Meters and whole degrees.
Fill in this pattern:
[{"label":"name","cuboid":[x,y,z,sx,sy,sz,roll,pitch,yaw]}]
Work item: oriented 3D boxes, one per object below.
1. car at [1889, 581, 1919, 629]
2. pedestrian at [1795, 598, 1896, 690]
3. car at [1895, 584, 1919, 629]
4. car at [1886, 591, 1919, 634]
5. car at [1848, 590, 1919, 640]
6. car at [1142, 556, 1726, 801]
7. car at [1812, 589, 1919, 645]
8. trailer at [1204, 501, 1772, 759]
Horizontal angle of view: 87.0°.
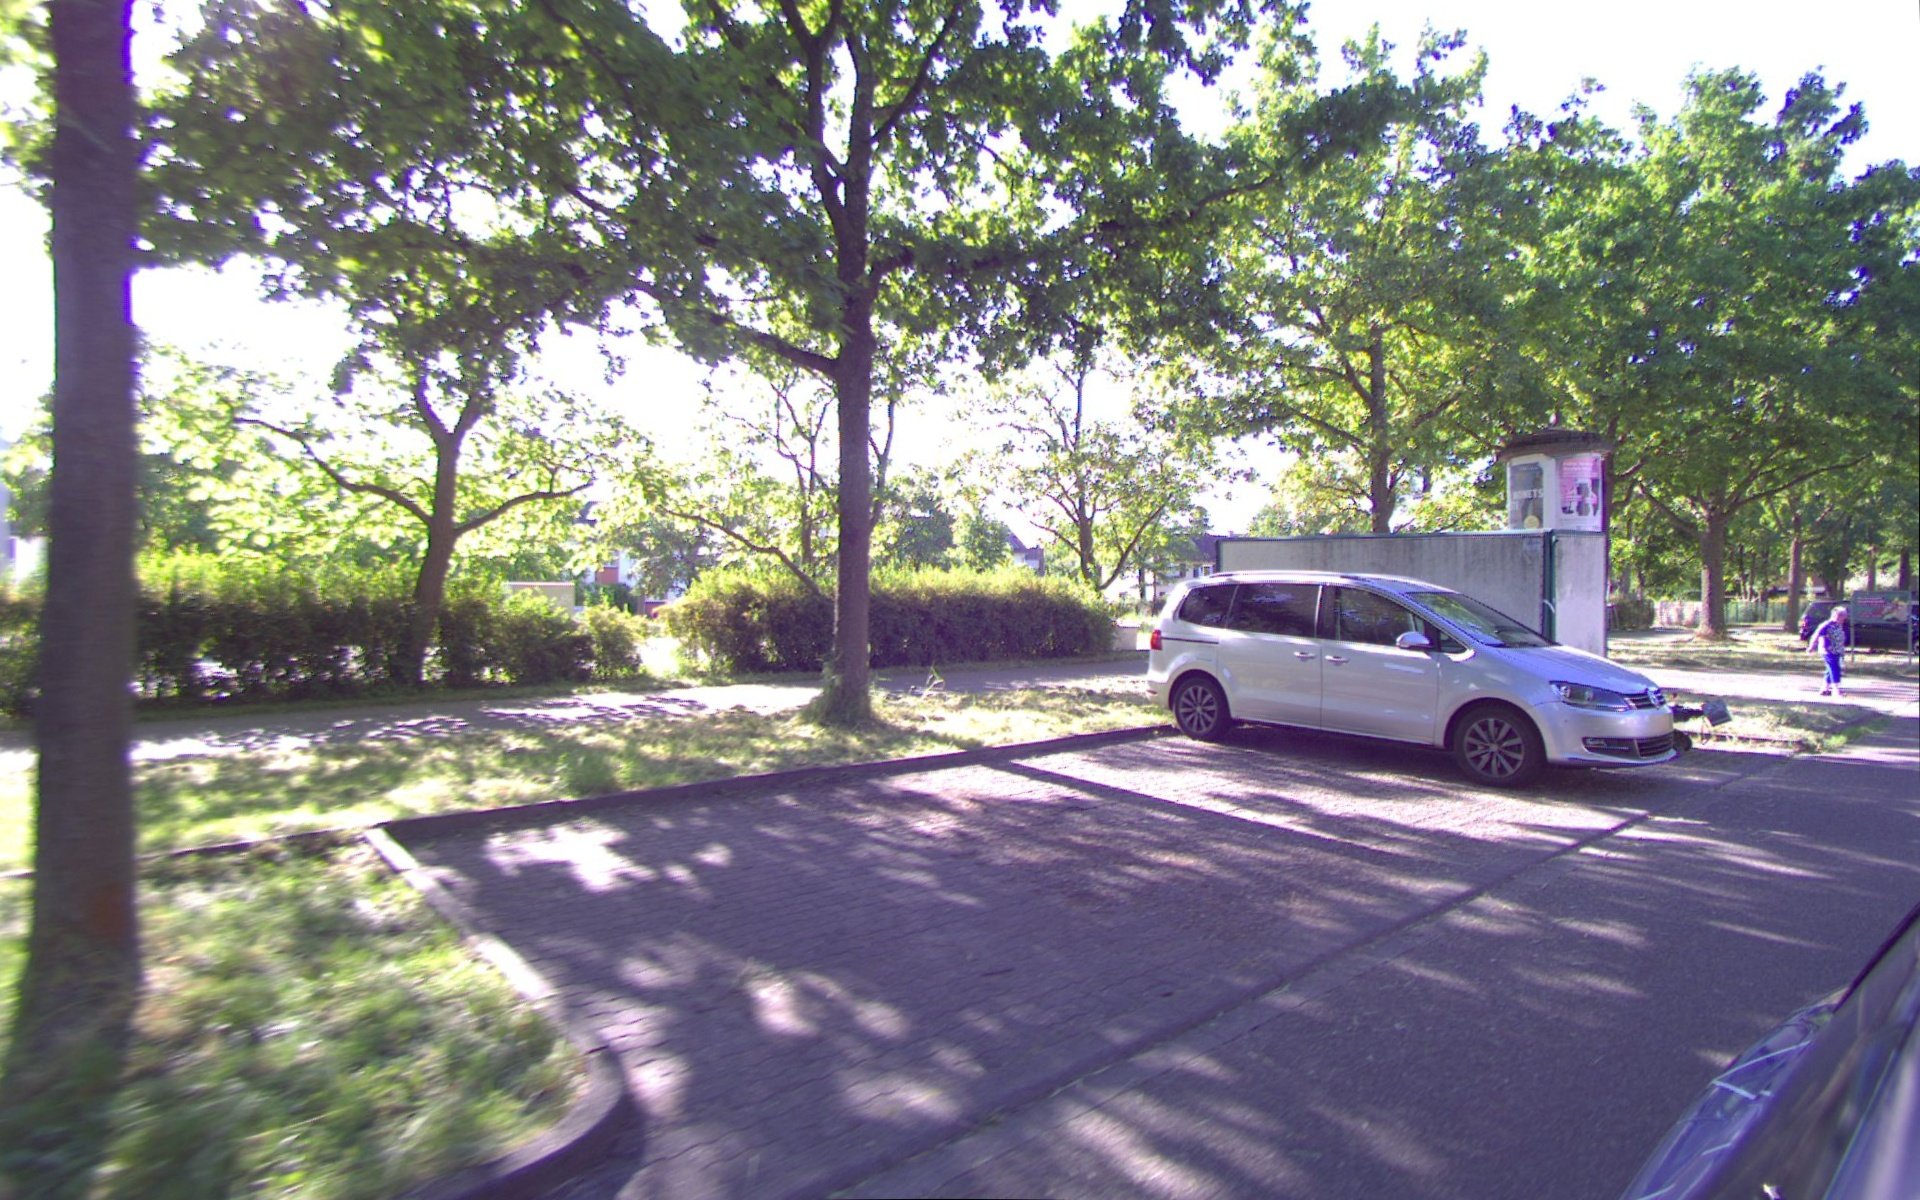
[{"label":"car","cuboid":[43.000,0.234,43.150,1.910,2.057,4.812,0,1,-41]},{"label":"pedestrian","cuboid":[15.166,0.736,17.361,0.868,1.519,0.943,1,0,2]},{"label":"car","cuboid":[41.325,0.314,41.687,1.769,1.860,4.014,0,1,-43]},{"label":"car","cuboid":[35.792,0.474,36.354,1.635,1.551,3.530,0,1,-39]},{"label":"car","cuboid":[32.084,0.490,33.632,1.754,1.596,3.592,0,1,-39]},{"label":"car","cuboid":[4.174,0.496,9.641,1.952,1.744,4.653,0,1,-39]},{"label":"car","cuboid":[28.283,0.497,30.623,1.825,1.596,3.590,0,2,-41]},{"label":"trailer","cuboid":[5.773,0.187,12.014,1.655,2.346,5.790,0,1,-38]}]
